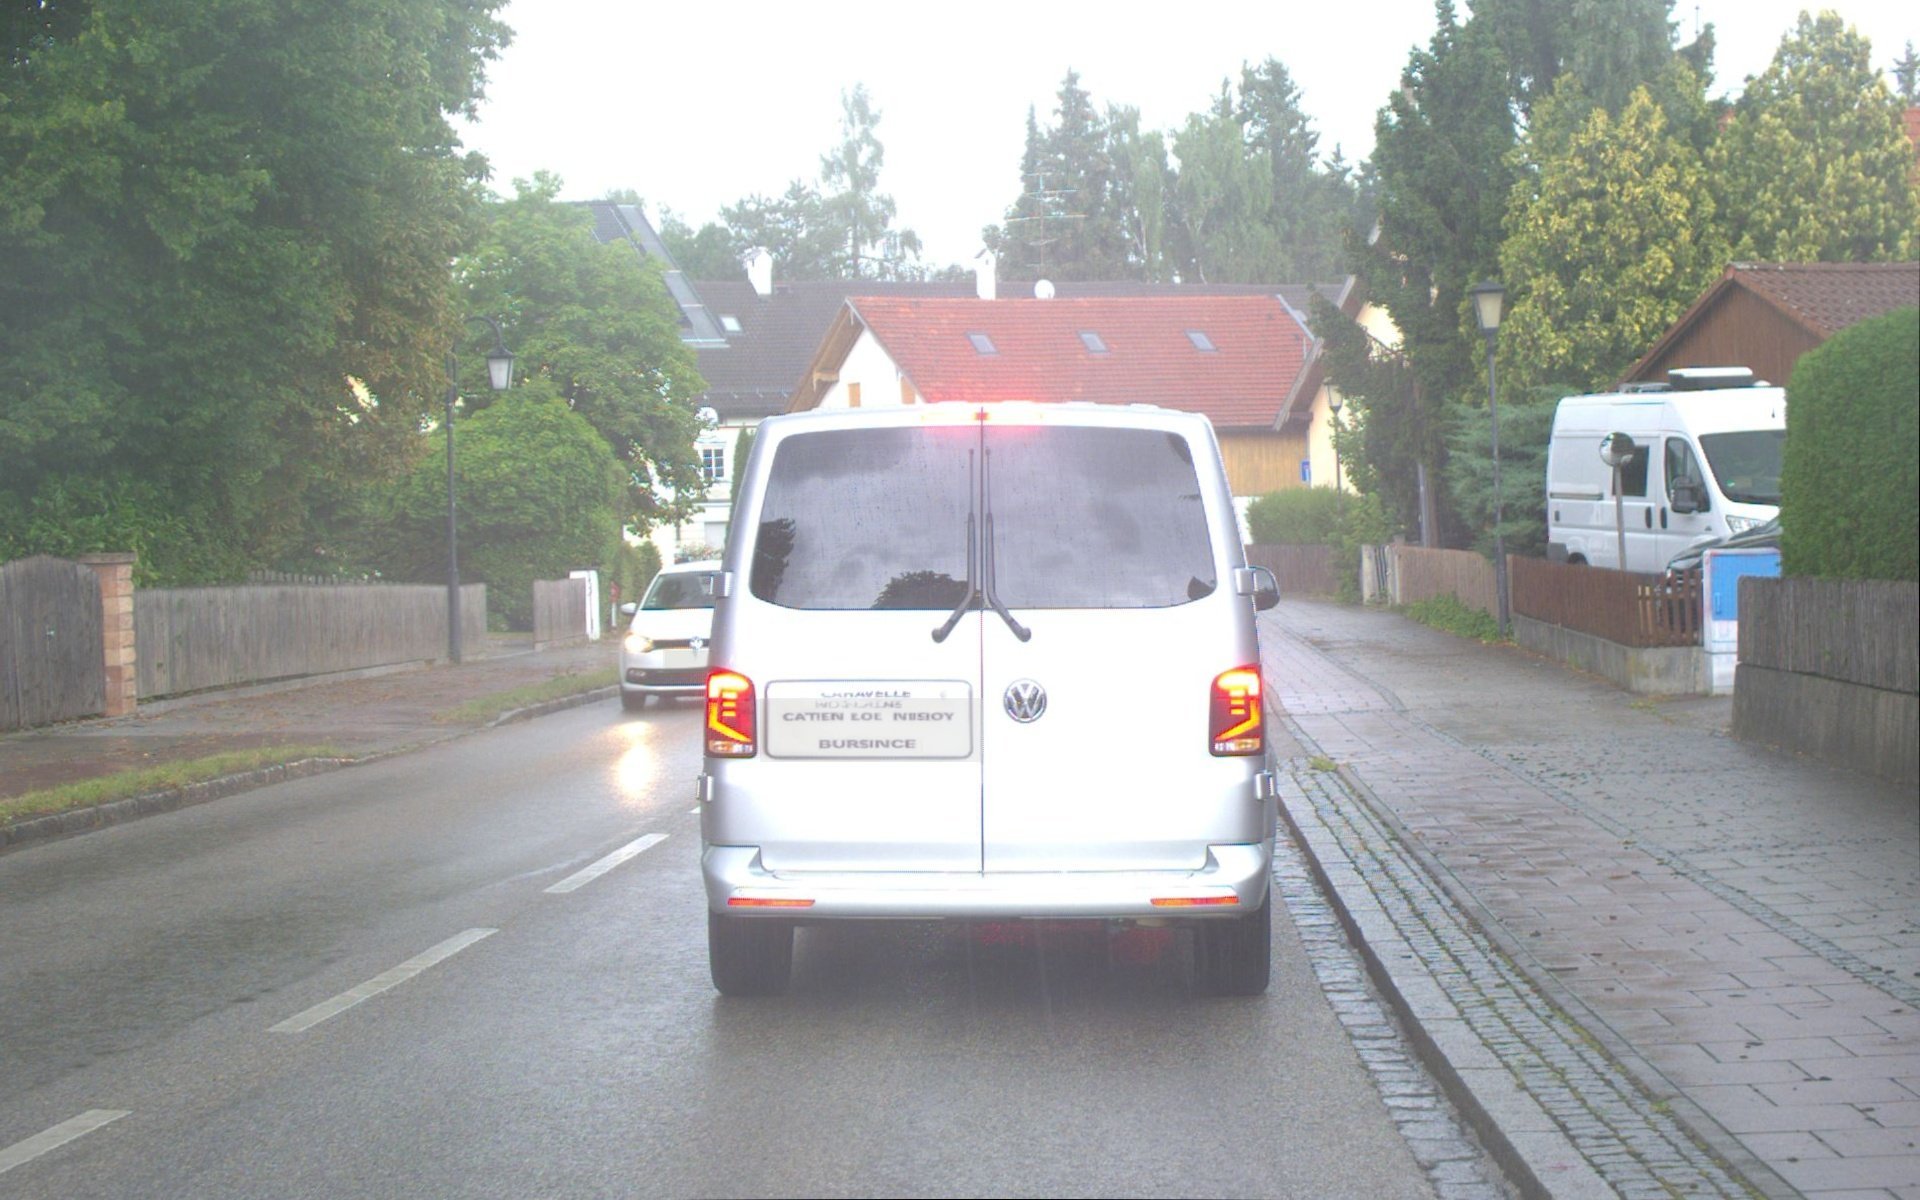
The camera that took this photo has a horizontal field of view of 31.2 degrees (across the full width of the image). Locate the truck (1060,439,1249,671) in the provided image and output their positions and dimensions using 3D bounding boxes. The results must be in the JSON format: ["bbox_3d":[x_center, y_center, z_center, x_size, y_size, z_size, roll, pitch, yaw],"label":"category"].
[{"bbox_3d":[2.705,-0.612,48.902,2.475,3.063,6.295,1,0,2],"label":"truck"}]

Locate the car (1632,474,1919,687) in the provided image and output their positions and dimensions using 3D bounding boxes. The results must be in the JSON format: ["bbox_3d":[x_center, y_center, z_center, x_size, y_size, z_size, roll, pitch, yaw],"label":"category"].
[{"bbox_3d":[8.215,-0.217,30.594,4.093,1.745,1.695,-1,3,-1],"label":"car"}]

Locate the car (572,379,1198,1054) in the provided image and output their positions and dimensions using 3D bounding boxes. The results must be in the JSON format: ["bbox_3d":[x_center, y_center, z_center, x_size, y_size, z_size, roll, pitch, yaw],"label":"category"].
[{"bbox_3d":[-0.095,0.337,12.339,1.801,2.007,3.999,1,0,5],"label":"car"}]

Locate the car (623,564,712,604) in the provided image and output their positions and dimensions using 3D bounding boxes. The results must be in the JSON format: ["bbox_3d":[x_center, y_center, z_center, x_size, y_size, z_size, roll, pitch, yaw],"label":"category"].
[{"bbox_3d":[-9.855,-0.546,115.611,1.780,1.306,3.776,1,0,-25],"label":"car"}]

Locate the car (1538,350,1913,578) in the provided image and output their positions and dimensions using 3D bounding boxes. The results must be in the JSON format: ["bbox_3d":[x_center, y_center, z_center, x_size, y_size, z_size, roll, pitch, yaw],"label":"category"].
[{"bbox_3d":[7.839,-1.331,35.757,1.993,2.166,4.954,1,0,-11],"label":"car"}]

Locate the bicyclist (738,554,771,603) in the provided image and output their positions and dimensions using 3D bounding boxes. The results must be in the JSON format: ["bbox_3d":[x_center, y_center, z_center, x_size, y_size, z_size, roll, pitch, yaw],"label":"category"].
[{"bbox_3d":[-4.289,-0.459,71.866,0.587,1.018,1.060,0,1,2],"label":"bicyclist"}]

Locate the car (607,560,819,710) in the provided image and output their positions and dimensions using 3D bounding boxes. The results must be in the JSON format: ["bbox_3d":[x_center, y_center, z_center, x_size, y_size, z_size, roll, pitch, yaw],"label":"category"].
[{"bbox_3d":[-2.443,0.330,34.747,1.618,1.439,3.670,0,0,4],"label":"car"}]

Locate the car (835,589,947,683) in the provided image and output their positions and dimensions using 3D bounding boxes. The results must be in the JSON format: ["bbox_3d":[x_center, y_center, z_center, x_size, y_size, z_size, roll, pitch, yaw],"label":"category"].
[{"bbox_3d":[-1.082,0.555,55.661,1.716,1.437,4.000,1,0,0],"label":"car"}]
